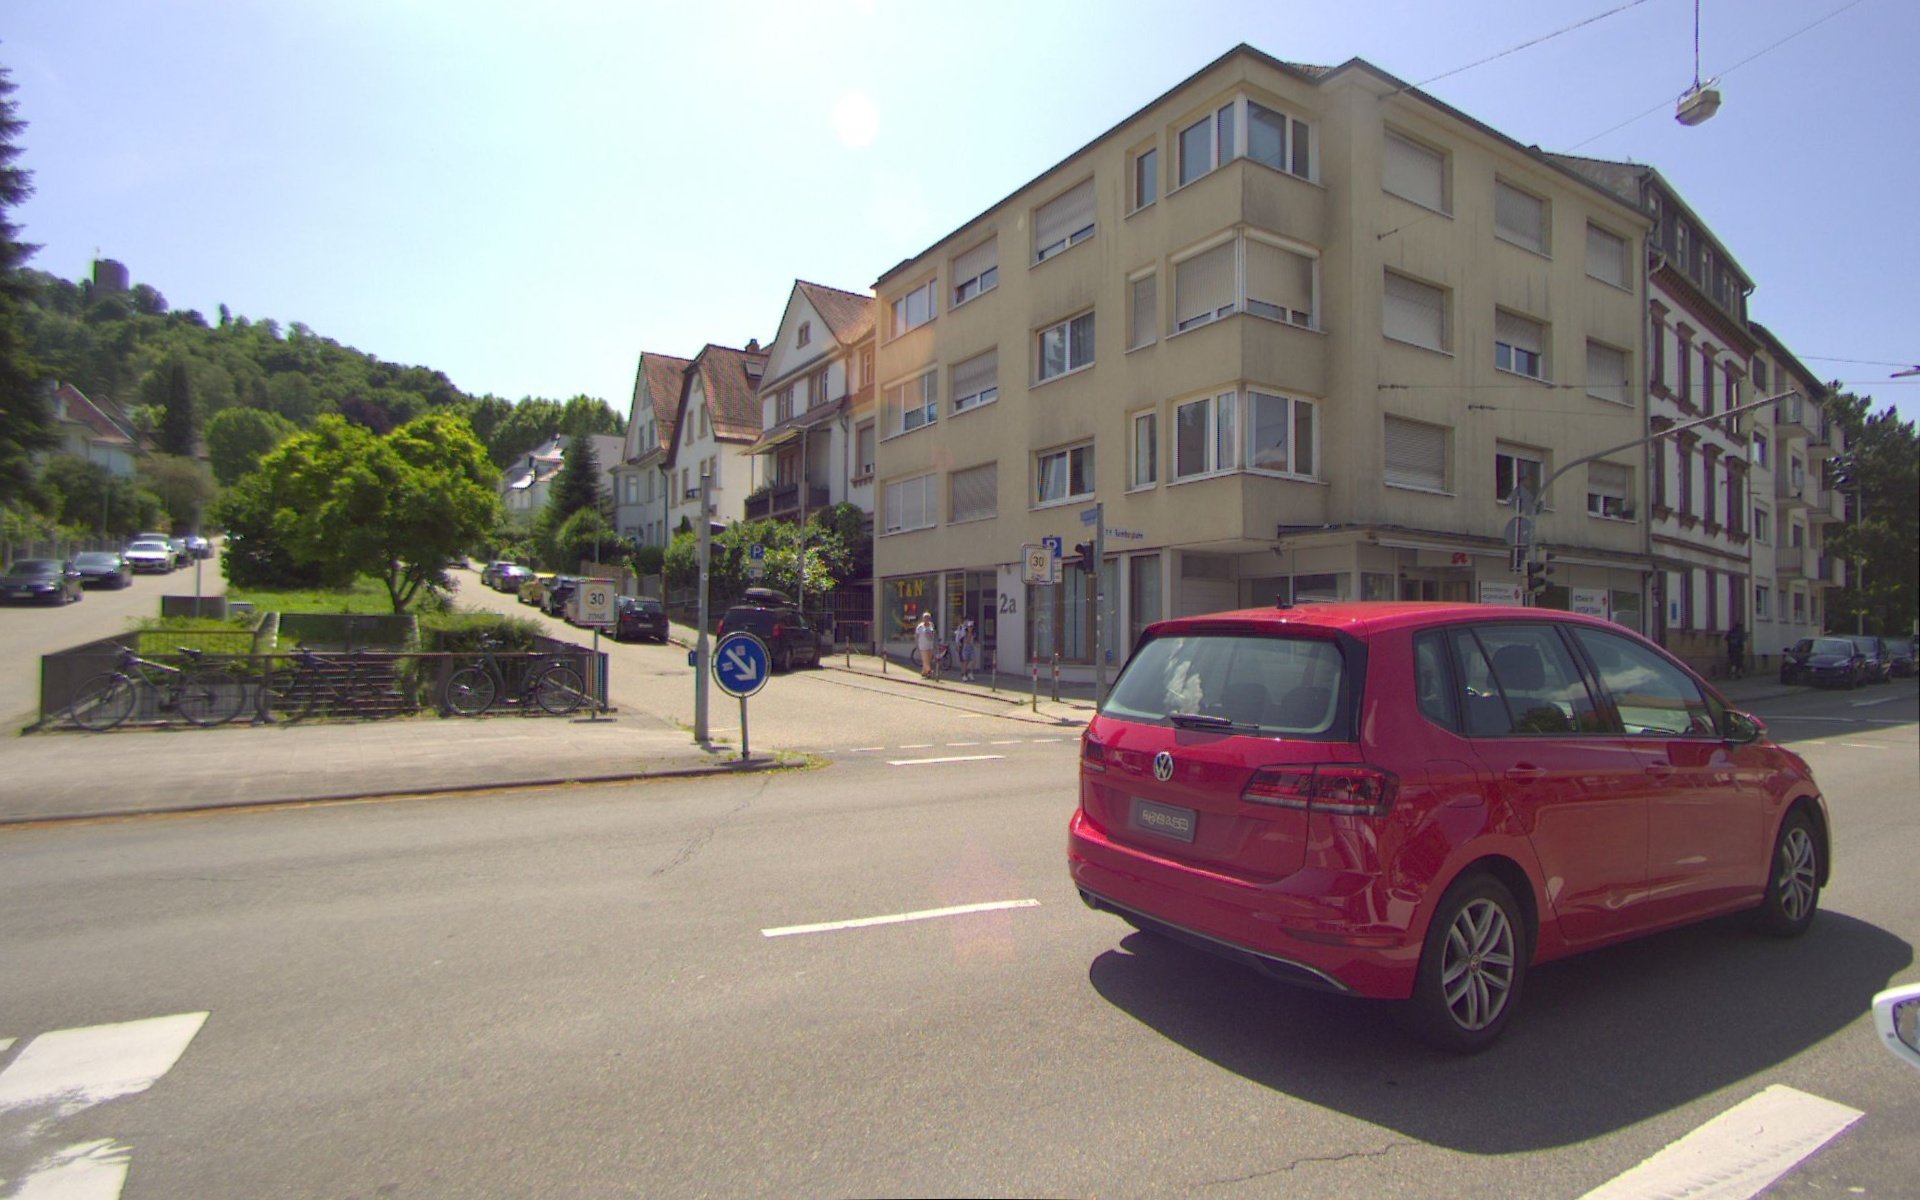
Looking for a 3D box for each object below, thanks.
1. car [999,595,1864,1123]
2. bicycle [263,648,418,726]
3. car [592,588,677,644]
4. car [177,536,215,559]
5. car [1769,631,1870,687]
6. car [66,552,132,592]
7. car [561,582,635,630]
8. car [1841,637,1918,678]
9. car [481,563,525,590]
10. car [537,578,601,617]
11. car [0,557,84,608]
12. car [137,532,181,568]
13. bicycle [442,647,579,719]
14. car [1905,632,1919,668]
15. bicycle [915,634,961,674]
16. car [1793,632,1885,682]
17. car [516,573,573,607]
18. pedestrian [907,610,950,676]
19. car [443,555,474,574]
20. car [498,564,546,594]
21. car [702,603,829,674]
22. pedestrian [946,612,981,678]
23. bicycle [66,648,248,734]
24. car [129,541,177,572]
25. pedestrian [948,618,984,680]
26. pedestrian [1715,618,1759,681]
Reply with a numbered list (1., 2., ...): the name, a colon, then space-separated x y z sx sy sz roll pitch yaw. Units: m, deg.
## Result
1. car: 2.350 0.830 4.794 3.990 1.578 1.790 2 -1 -30
2. bicycle: -8.252 1.139 13.423 1.729 0.980 0.394 2 -1 -35
3. car: -11.114 0.517 34.135 1.790 1.638 3.963 2 2 -33
4. car: -53.267 -3.664 70.073 1.739 1.467 3.706 1 2 -32
5. car: 26.451 1.799 30.868 3.973 1.539 1.974 3 -2 -44
6. car: -35.414 -1.188 41.406 1.741 1.467 3.701 1 2 -36
7. car: -13.892 0.193 38.398 1.790 1.571 3.963 2 2 -33
8. car: 36.443 2.244 39.778 3.972 1.530 1.975 2 -2 -43
9. car: -27.482 -1.428 60.412 1.839 1.439 3.963 2 2 -33
10. car: -16.624 -0.120 42.601 1.790 1.406 3.963 2 2 -33
11. car: -30.255 -0.594 33.074 1.741 1.467 3.701 1 2 -36
12. car: -44.948 -2.821 56.428 1.741 1.839 3.701 1 2 -36
13. bicycle: -6.502 1.178 14.574 1.765 0.980 0.394 2 -1 -35
14. car: 48.929 2.536 50.265 4.003 1.740 1.784 2 1 -39
15. bicycle: -0.628 1.494 28.184 0.493 1.040 1.728 1 -1 -31
16. car: 29.865 1.923 34.083 3.972 1.539 1.975 3 -2 -43
17. car: -19.741 -0.491 47.613 1.790 1.439 3.963 2 2 -33
18. pedestrian: -0.810 1.084 25.497 0.813 1.654 0.798 1 -1 -29
19. car: -41.482 -2.935 82.995 1.839 1.439 3.963 2 2 -33
20. car: -24.236 -1.166 55.516 1.839 1.439 3.963 2 2 -33
21. car: -4.972 0.995 26.382 1.959 1.686 4.333 0 -2 8
22. pedestrian: 0.084 1.152 25.679 0.641 1.654 0.683 1 -1 -29
23. bicycle: -9.787 1.090 12.317 1.701 0.980 0.394 2 -1 -35
24. car: -42.355 -2.306 52.788 1.741 1.467 3.701 1 2 -36
25. pedestrian: 0.148 1.206 24.680 0.641 1.495 0.683 1 -1 -29
26. pedestrian: 24.383 1.543 31.519 0.970 1.957 0.926 2 -2 -42
